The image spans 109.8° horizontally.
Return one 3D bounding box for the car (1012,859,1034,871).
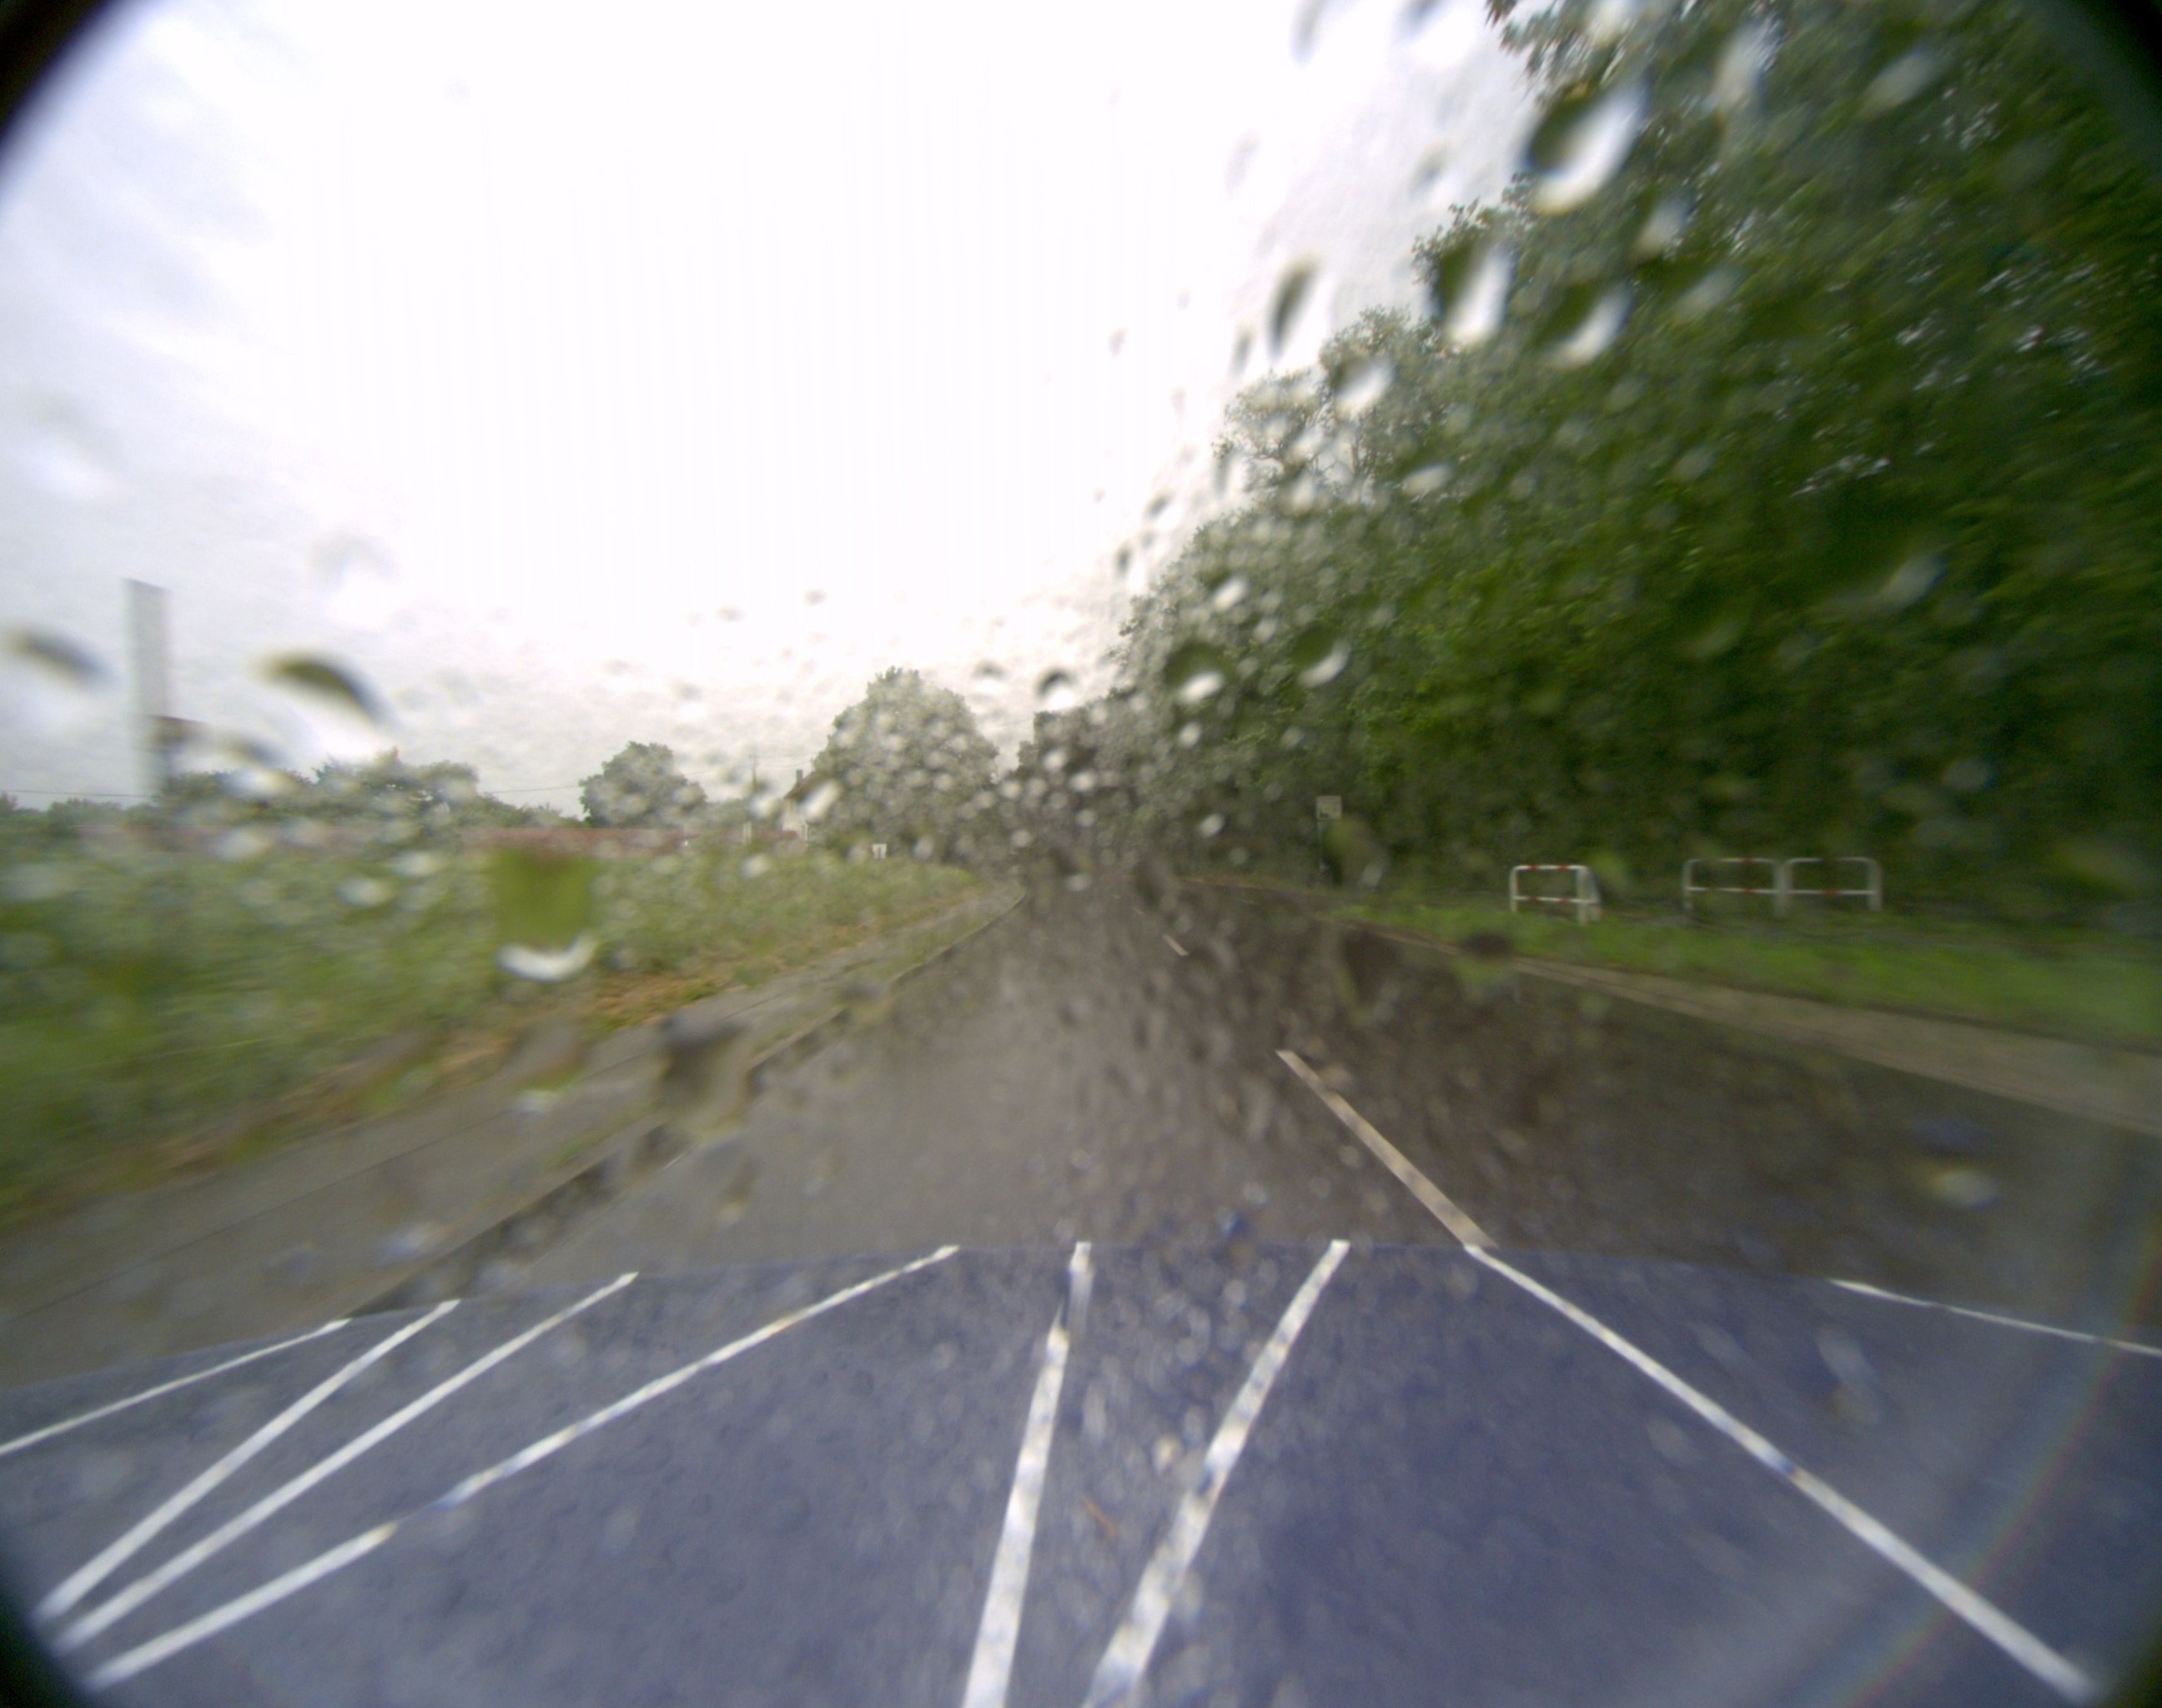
[{"bbox_3d":[-7.211,1.358,94.037,2.142,1.341,4.303,-2,0,-11],"label":"car"}]
